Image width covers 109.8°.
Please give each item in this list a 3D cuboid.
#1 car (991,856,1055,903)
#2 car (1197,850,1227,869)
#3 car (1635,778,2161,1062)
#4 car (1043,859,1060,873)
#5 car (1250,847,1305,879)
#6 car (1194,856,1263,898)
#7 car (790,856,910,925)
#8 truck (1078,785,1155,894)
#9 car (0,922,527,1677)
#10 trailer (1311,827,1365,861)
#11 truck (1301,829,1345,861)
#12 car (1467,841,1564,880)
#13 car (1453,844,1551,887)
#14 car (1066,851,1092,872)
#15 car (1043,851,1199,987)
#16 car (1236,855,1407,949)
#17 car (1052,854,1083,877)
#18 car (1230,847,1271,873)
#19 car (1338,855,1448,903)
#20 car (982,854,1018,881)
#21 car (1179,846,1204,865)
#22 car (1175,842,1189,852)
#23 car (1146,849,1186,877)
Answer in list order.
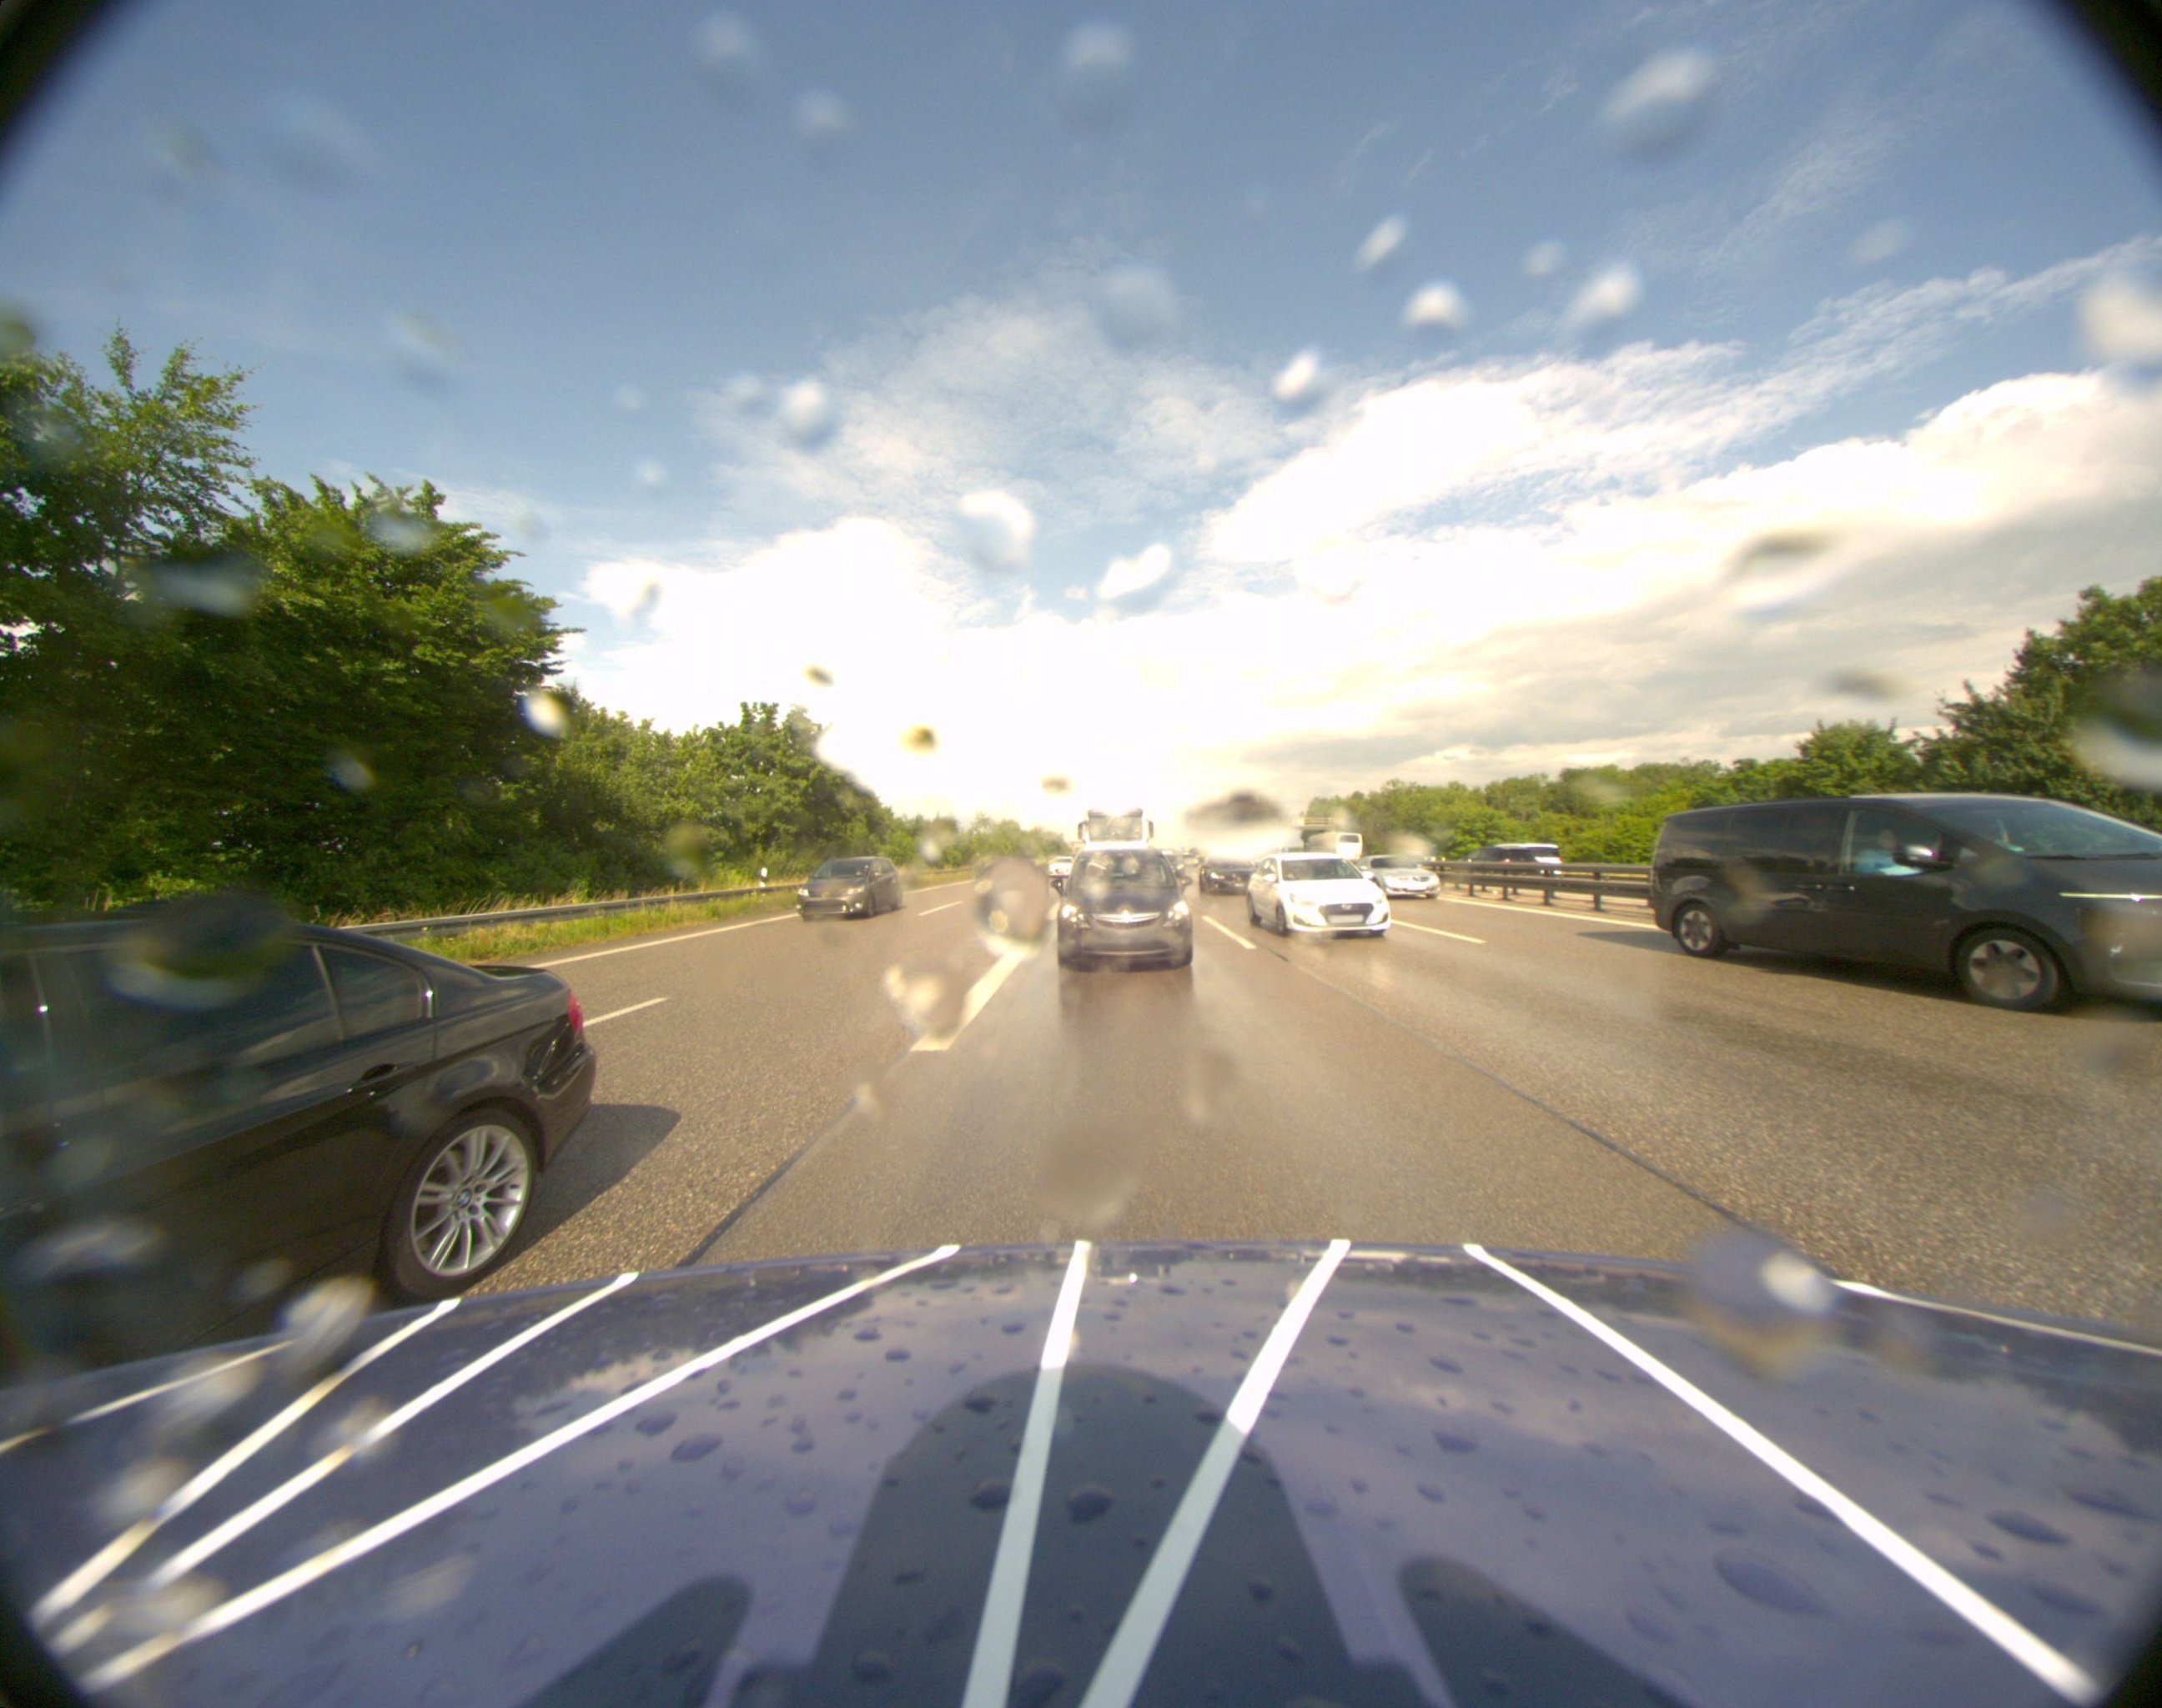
[{"bbox_3d":[-1.970,0.846,27.123,1.853,1.455,4.255,-1,1,1],"label":"car"},{"bbox_3d":[10.460,0.419,60.895,1.771,1.371,3.999,-1,1,1],"label":"car"},{"bbox_3d":[8.673,0.429,7.937,1.998,2.002,5.269,-1,0,1],"label":"car"},{"bbox_3d":[-3.728,1.477,96.727,1.825,1.611,4.363,-2,0,0],"label":"car"},{"bbox_3d":[9.604,0.421,37.441,1.771,1.417,4.138,-2,1,2],"label":"car"},{"bbox_3d":[5.223,0.772,27.402,1.728,1.330,4.287,-1,0,1],"label":"car"},{"bbox_3d":[-6.159,0.909,20.804,1.792,1.603,4.385,-1,0,2],"label":"car"},{"bbox_3d":[1.550,-0.607,32.914,2.817,4.083,7.446,-2,1,3],"label":"truck"},{"bbox_3d":[-3.116,1.006,1.086,1.744,1.412,3.835,-1,0,1],"label":"car"},{"bbox_3d":[26.758,-1.009,79.532,2.736,3.362,9.562,-1,0,3],"label":"trailer"},{"bbox_3d":[27.007,-1.034,85.147,2.736,3.362,7.593,-1,0,3],"label":"truck"},{"bbox_3d":[21.152,0.272,37.254,1.998,1.723,4.945,-1,0,1],"label":"car"},{"bbox_3d":[16.982,0.428,30.861,1.885,1.619,3.830,0,1,1],"label":"car"},{"bbox_3d":[-0.122,0.602,63.088,1.998,1.572,4.653,-1,0,1],"label":"car"},{"bbox_3d":[0.536,0.791,11.547,1.883,1.638,4.396,-1,0,1],"label":"car"},{"bbox_3d":[4.346,0.778,14.536,1.886,1.446,4.548,-1,0,1],"label":"car"},{"bbox_3d":[-0.887,0.760,52.177,1.831,1.417,4.511,-2,1,2],"label":"car"},{"bbox_3d":[10.912,0.352,49.195,1.875,1.597,4.229,-1,1,2],"label":"car"},{"bbox_3d":[9.348,0.707,23.125,1.728,1.270,4.063,-1,0,1],"label":"car"},{"bbox_3d":[-5.182,0.834,49.104,1.853,1.559,4.000,-1,1,1],"label":"car"},{"bbox_3d":[11.702,0.127,80.537,1.998,1.739,3.999,-3,1,1],"label":"car"},{"bbox_3d":[18.920,-1.363,142.330,1.998,1.768,4.461,-1,0,2],"label":"car"},{"bbox_3d":[5.135,0.524,46.306,1.998,1.477,3.999,-3,1,1],"label":"car"}]
